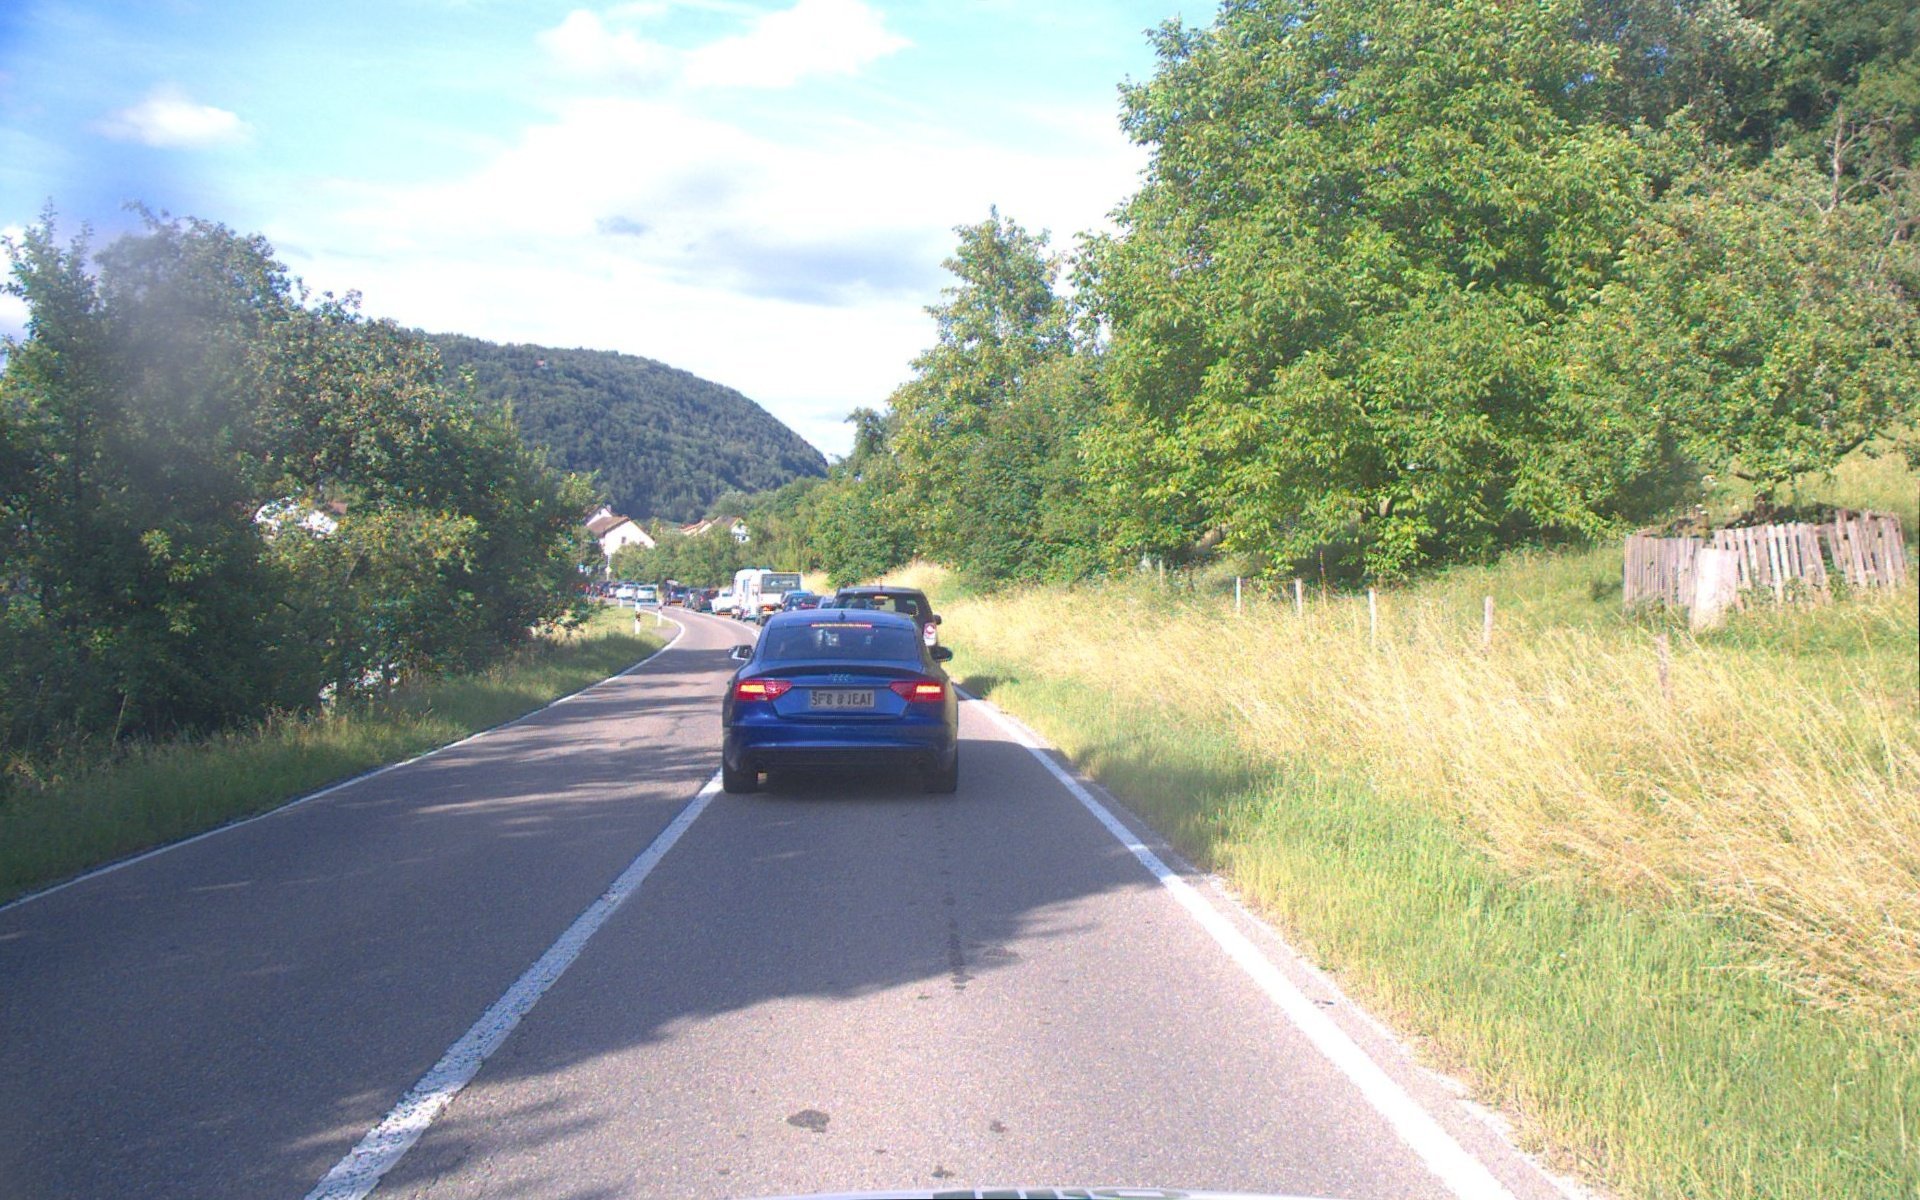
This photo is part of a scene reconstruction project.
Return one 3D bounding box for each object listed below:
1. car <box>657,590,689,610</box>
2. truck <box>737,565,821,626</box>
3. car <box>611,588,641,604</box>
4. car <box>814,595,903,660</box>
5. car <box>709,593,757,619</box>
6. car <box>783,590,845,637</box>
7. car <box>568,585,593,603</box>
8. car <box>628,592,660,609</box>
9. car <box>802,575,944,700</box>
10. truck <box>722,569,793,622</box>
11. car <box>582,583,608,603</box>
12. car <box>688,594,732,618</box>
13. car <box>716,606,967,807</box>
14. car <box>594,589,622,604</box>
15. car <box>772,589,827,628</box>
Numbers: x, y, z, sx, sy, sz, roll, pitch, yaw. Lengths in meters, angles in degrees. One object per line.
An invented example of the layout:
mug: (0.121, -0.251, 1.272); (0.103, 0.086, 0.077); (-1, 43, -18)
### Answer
car: (-22.799, 0.008, 131.382); (1.963, 1.508, 3.979); (1, 0, -18)
truck: (-8.851, -0.226, 79.813); (2.815, 2.712, 10.358); (1, 0, -13)
car: (-31.926, -0.362, 157.841); (1.968, 1.508, 3.969); (1, 0, -24)
car: (-2.322, 0.625, 38.702); (1.953, 1.411, 3.998); (1, 0, -2)
car: (-13.927, 0.366, 101.345); (1.966, 1.508, 3.973); (1, 0, -22)
car: (-4.962, 0.452, 55.953); (1.955, 1.508, 3.994); (1, 0, -7)
car: (-42.704, -0.650, 186.064); (1.967, 2.049, 3.971); (1, 0, -23)
car: (-28.322, 0.040, 148.197); (1.968, 1.508, 3.969); (1, 0, -24)
car: (-1.290, 0.534, 25.088); (1.953, 1.732, 3.998); (1, 0, -2)
truck: (-11.257, -0.242, 90.956); (2.815, 2.712, 10.610); (1, 0, -13)
car: (-38.265, -0.766, 173.416); (1.967, 2.049, 3.971); (1, 0, -23)
car: (-16.416, 0.375, 108.321); (1.966, 1.508, 3.973); (1, 0, -22)
car: (-0.877, 0.751, 13.603); (1.757, 1.383, 3.999); (0, 0, -1)
car: (-35.556, -0.376, 166.920); (1.968, 1.508, 3.969); (1, 0, -24)
car: (-6.545, 0.357, 67.299); (1.957, 1.508, 3.991); (1, 0, -9)
